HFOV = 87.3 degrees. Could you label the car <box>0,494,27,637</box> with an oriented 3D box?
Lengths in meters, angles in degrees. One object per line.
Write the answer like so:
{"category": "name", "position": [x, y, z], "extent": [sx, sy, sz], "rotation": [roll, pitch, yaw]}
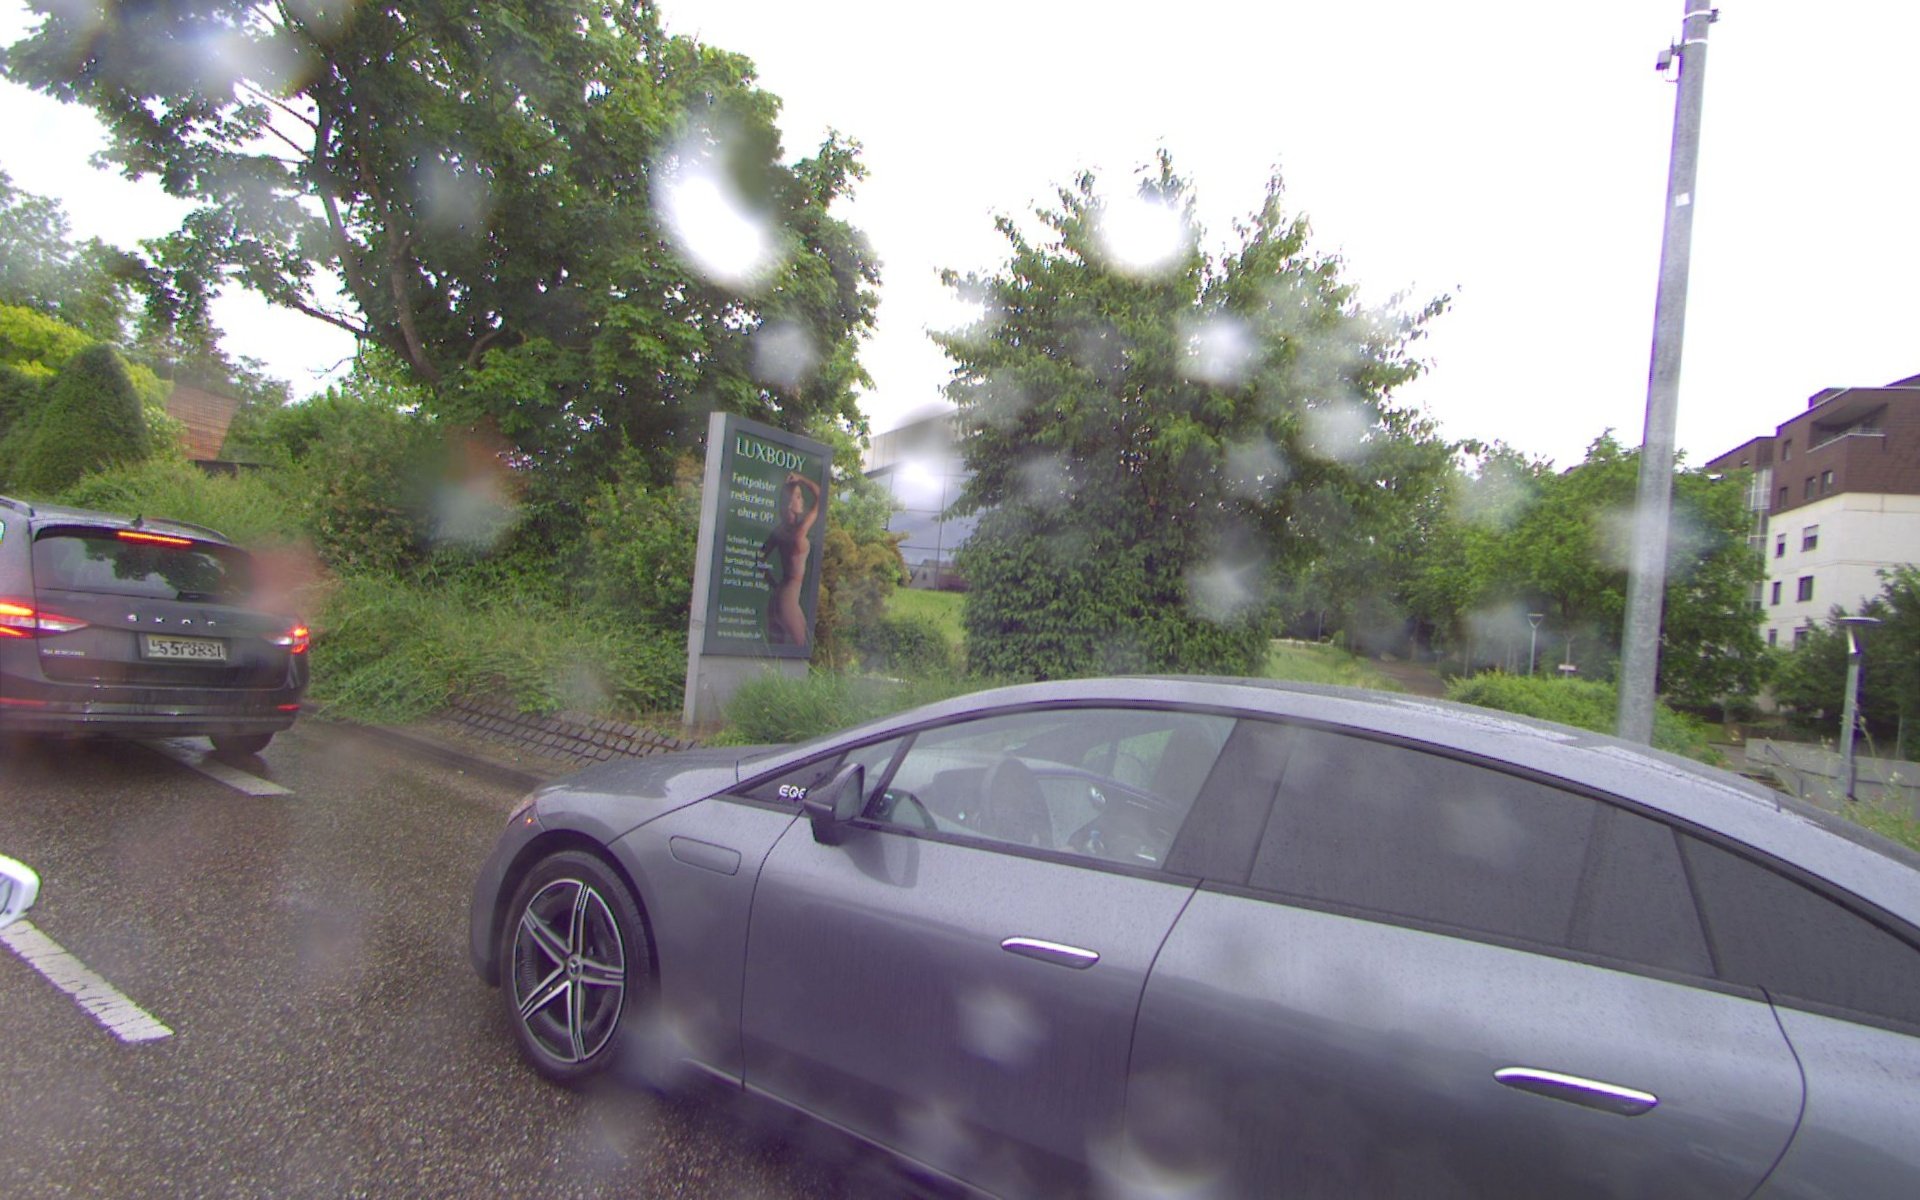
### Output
{"category": "car", "position": [-12.126, -0.661, 10.866], "extent": [4.048, 1.483, 1.842], "rotation": [7, -2, 31]}

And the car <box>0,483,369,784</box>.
{"category": "car", "position": [-6.101, 0.039, 6.762], "extent": [4.279, 1.483, 1.841], "rotation": [7, -2, 33]}

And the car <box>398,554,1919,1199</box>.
{"category": "car", "position": [0.701, 0.934, 2.909], "extent": [4.728, 1.483, 1.842], "rotation": [7, -2, 31]}
